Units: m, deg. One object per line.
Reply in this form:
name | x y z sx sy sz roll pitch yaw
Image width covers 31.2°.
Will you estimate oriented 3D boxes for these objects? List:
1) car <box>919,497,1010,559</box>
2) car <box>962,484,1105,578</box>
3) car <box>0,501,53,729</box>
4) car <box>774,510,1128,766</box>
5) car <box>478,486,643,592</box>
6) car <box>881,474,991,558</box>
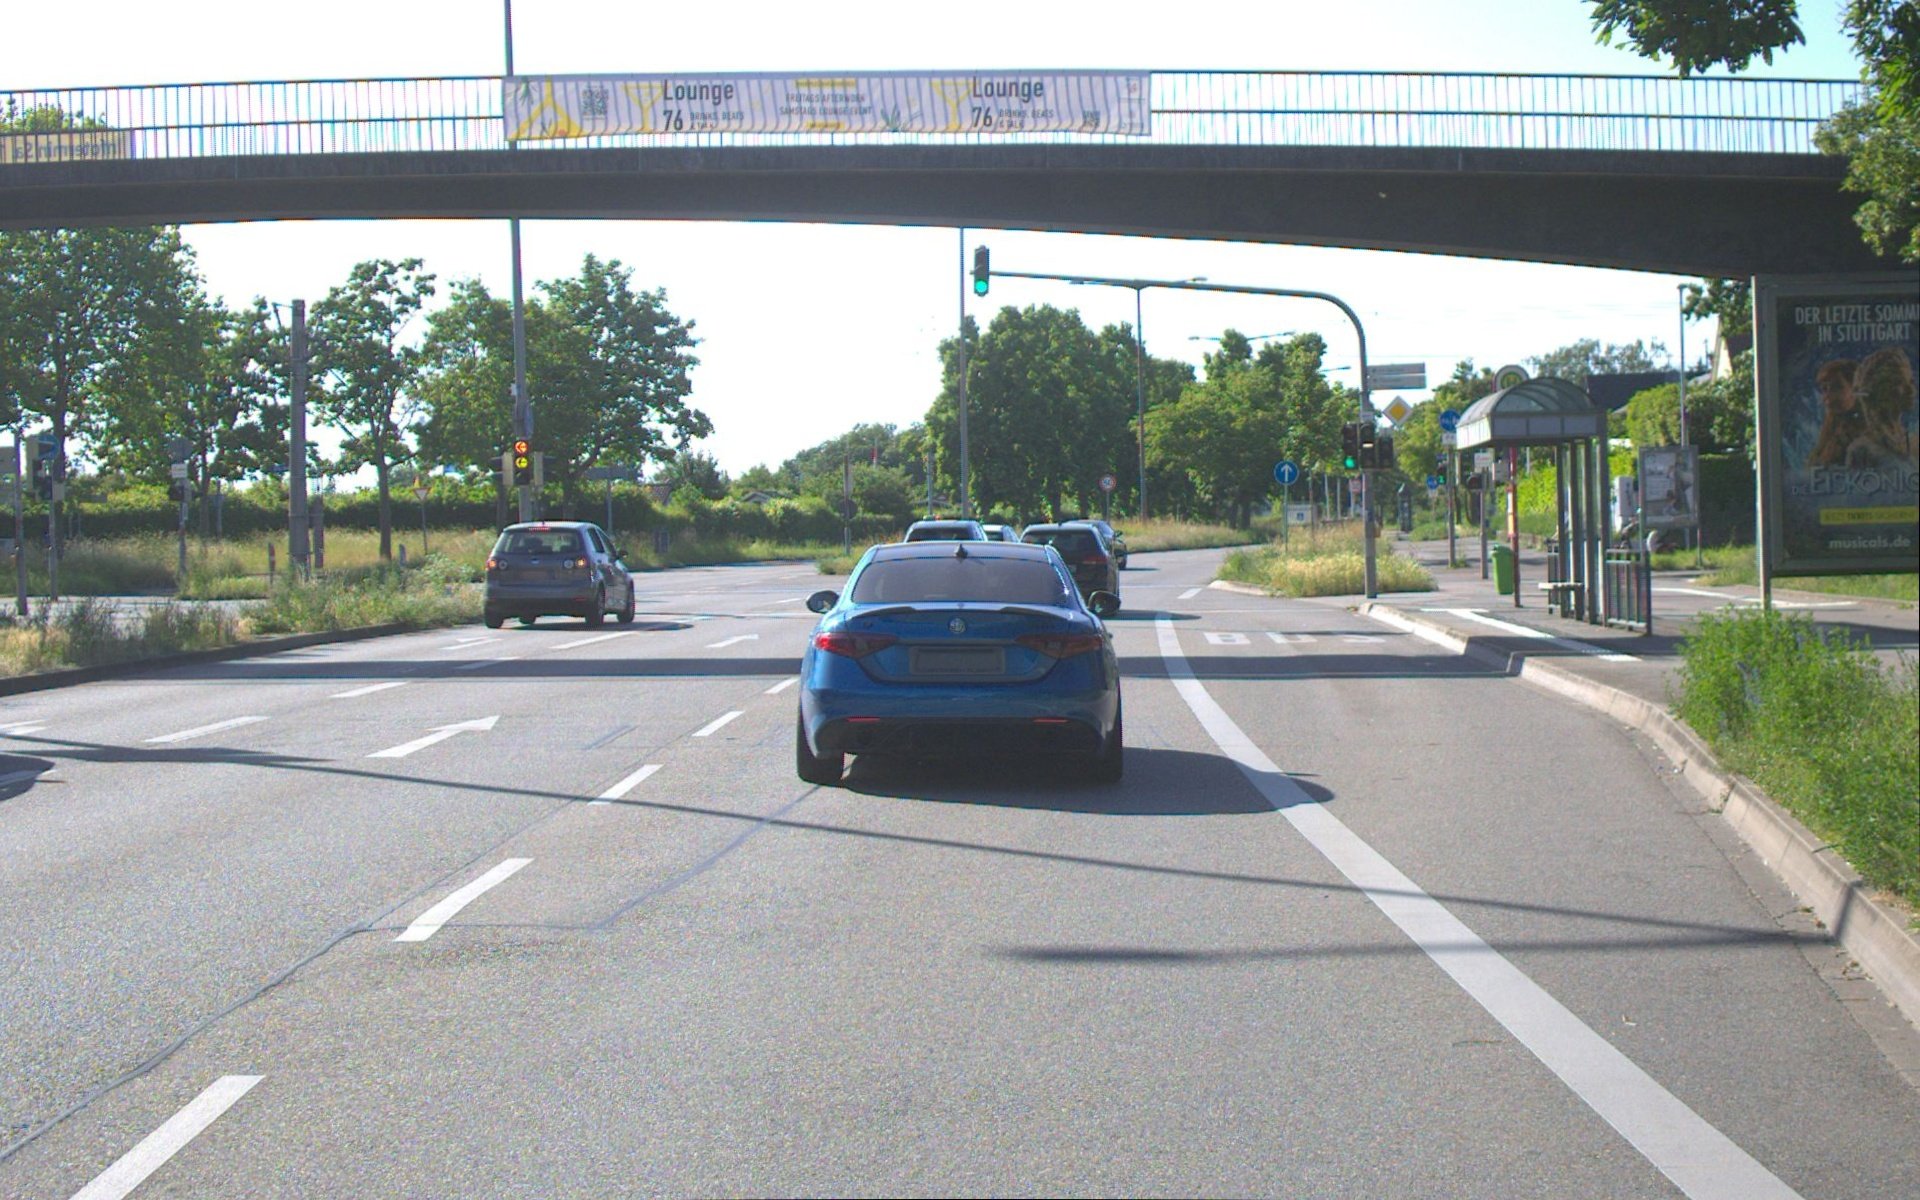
car | 0.083 -1.766 84.089 1.883 1.449 4.527 -1 1 -4
car | 1.132 -1.113 55.361 1.883 1.449 4.527 -1 1 -4
car | -7.315 0.158 20.836 1.959 1.477 4.918 -1 2 5
car | -0.159 0.164 21.164 1.883 1.401 4.225 -1 1 -4
car | -6.025 -0.933 52.217 1.797 1.550 3.730 0 1 4
car | -0.508 -1.657 68.205 1.707 1.592 4.225 -1 1 -7
